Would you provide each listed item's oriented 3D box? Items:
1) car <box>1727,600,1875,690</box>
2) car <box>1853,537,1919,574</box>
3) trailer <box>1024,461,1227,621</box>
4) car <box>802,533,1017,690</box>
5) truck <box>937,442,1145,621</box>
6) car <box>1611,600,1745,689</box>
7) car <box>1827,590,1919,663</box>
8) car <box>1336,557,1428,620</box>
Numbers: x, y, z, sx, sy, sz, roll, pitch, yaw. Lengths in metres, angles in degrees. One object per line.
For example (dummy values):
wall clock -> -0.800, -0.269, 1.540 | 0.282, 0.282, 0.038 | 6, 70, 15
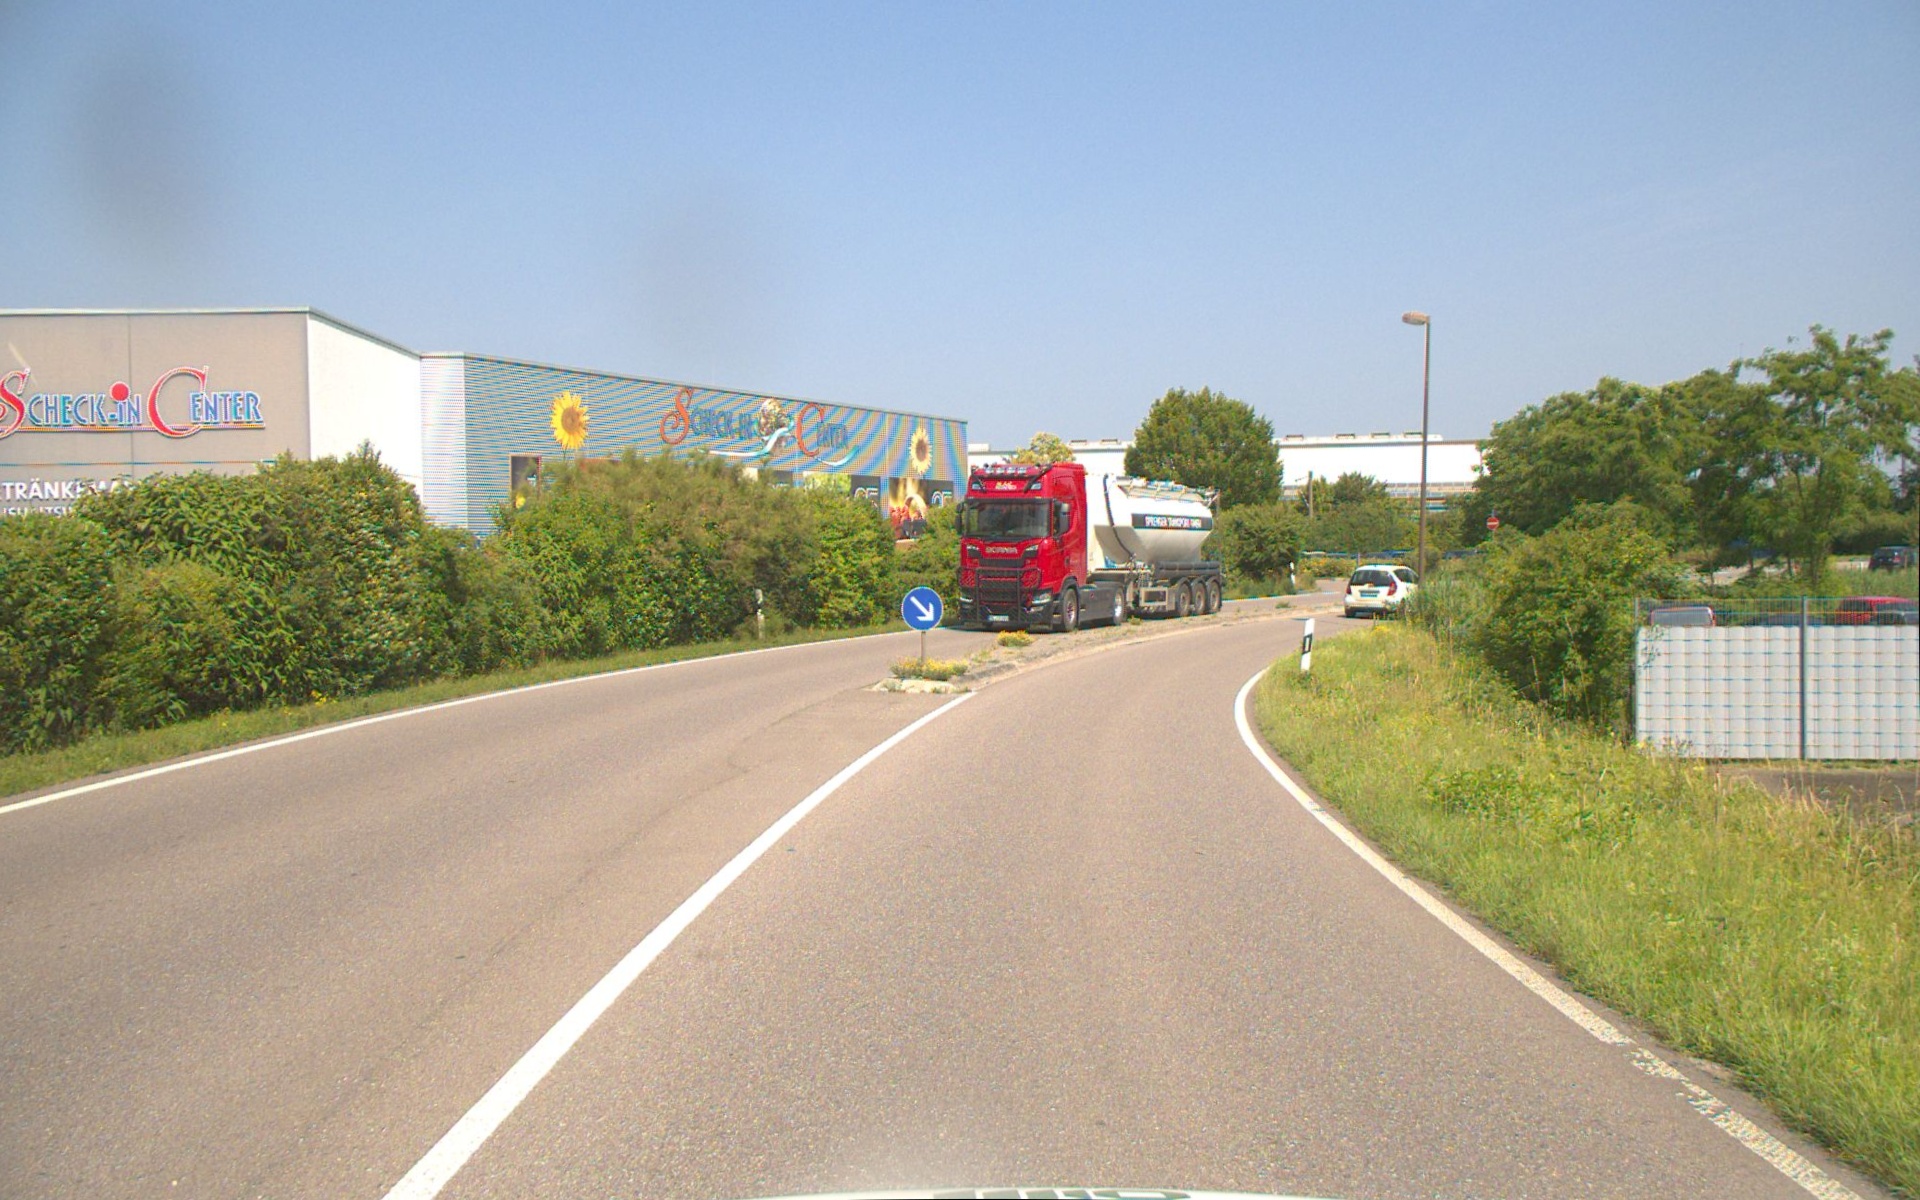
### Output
car -> 20.309, 1.035, 40.120 | 1.951, 2.049, 4.003 | 0, 0, 7
car -> 44.640, -2.101, 78.948 | 3.735, 1.631, 1.772 | 1, 0, -27
trailer -> 4.901, -1.516, 46.997 | 2.823, 4.101, 8.686 | 0, 0, 27
car -> -0.621, 0.146, 23.908 | 1.951, 2.049, 4.002 | 0, 0, 17
truck -> 2.178, -1.571, 41.564 | 2.825, 4.101, 6.715 | 0, 0, 26
car -> 17.484, 1.023, 40.476 | 1.951, 2.049, 4.003 | 0, 0, 7
car -> 27.021, 0.743, 48.081 | 1.951, 2.049, 4.003 | 0, 0, 7
car -> 13.010, -0.335, 50.870 | 1.748, 1.630, 3.887 | 6, 1, 28
